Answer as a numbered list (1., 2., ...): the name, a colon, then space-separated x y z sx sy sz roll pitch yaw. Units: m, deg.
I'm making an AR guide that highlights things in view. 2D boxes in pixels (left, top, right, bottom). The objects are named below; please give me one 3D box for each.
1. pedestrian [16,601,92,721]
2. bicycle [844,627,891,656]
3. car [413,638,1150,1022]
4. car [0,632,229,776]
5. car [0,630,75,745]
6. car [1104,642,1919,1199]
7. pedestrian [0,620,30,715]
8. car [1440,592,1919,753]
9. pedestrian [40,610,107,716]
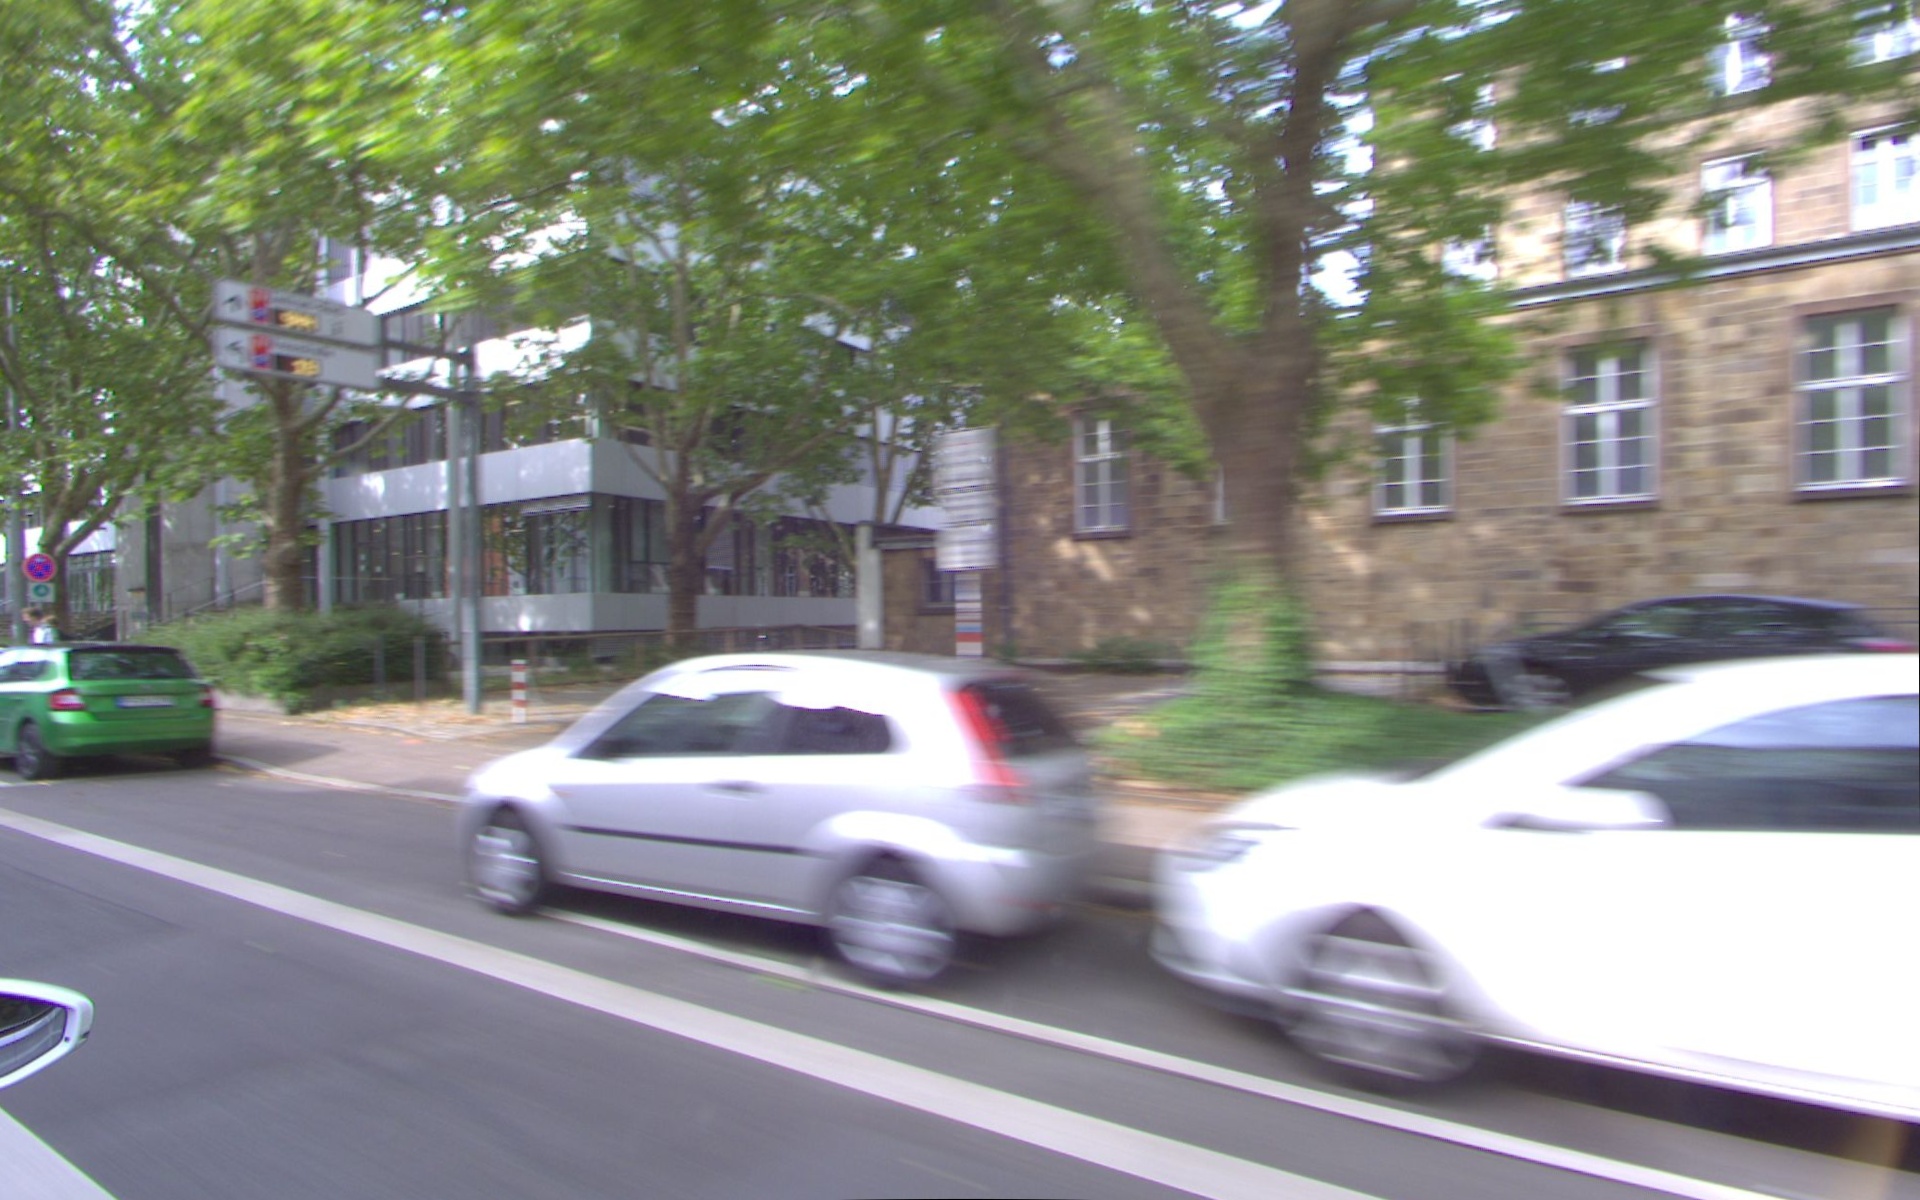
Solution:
1. pedestrian: -15.797 1.047 17.470 0.739 2.023 0.792 -1 -2 32
2. bicycle: -2.882 1.290 31.321 0.502 0.889 1.614 -3 -2 36
3. car: -1.043 0.973 5.558 3.822 1.465 1.643 -1 -3 28
4. car: -10.547 1.139 11.908 3.749 1.467 1.586 -1 -3 30
5. car: -14.773 1.190 14.412 4.476 1.534 1.680 -1 -3 30
6. car: 2.763 0.905 3.412 4.159 1.465 1.751 -1 -3 33
7. pedestrian: -17.338 1.207 18.018 0.645 1.679 0.720 -1 -2 32
8. car: 7.870 0.703 11.341 4.233 1.469 1.667 1 0 31
9. pedestrian: -16.141 1.133 18.235 0.693 1.878 0.720 -1 -2 32
